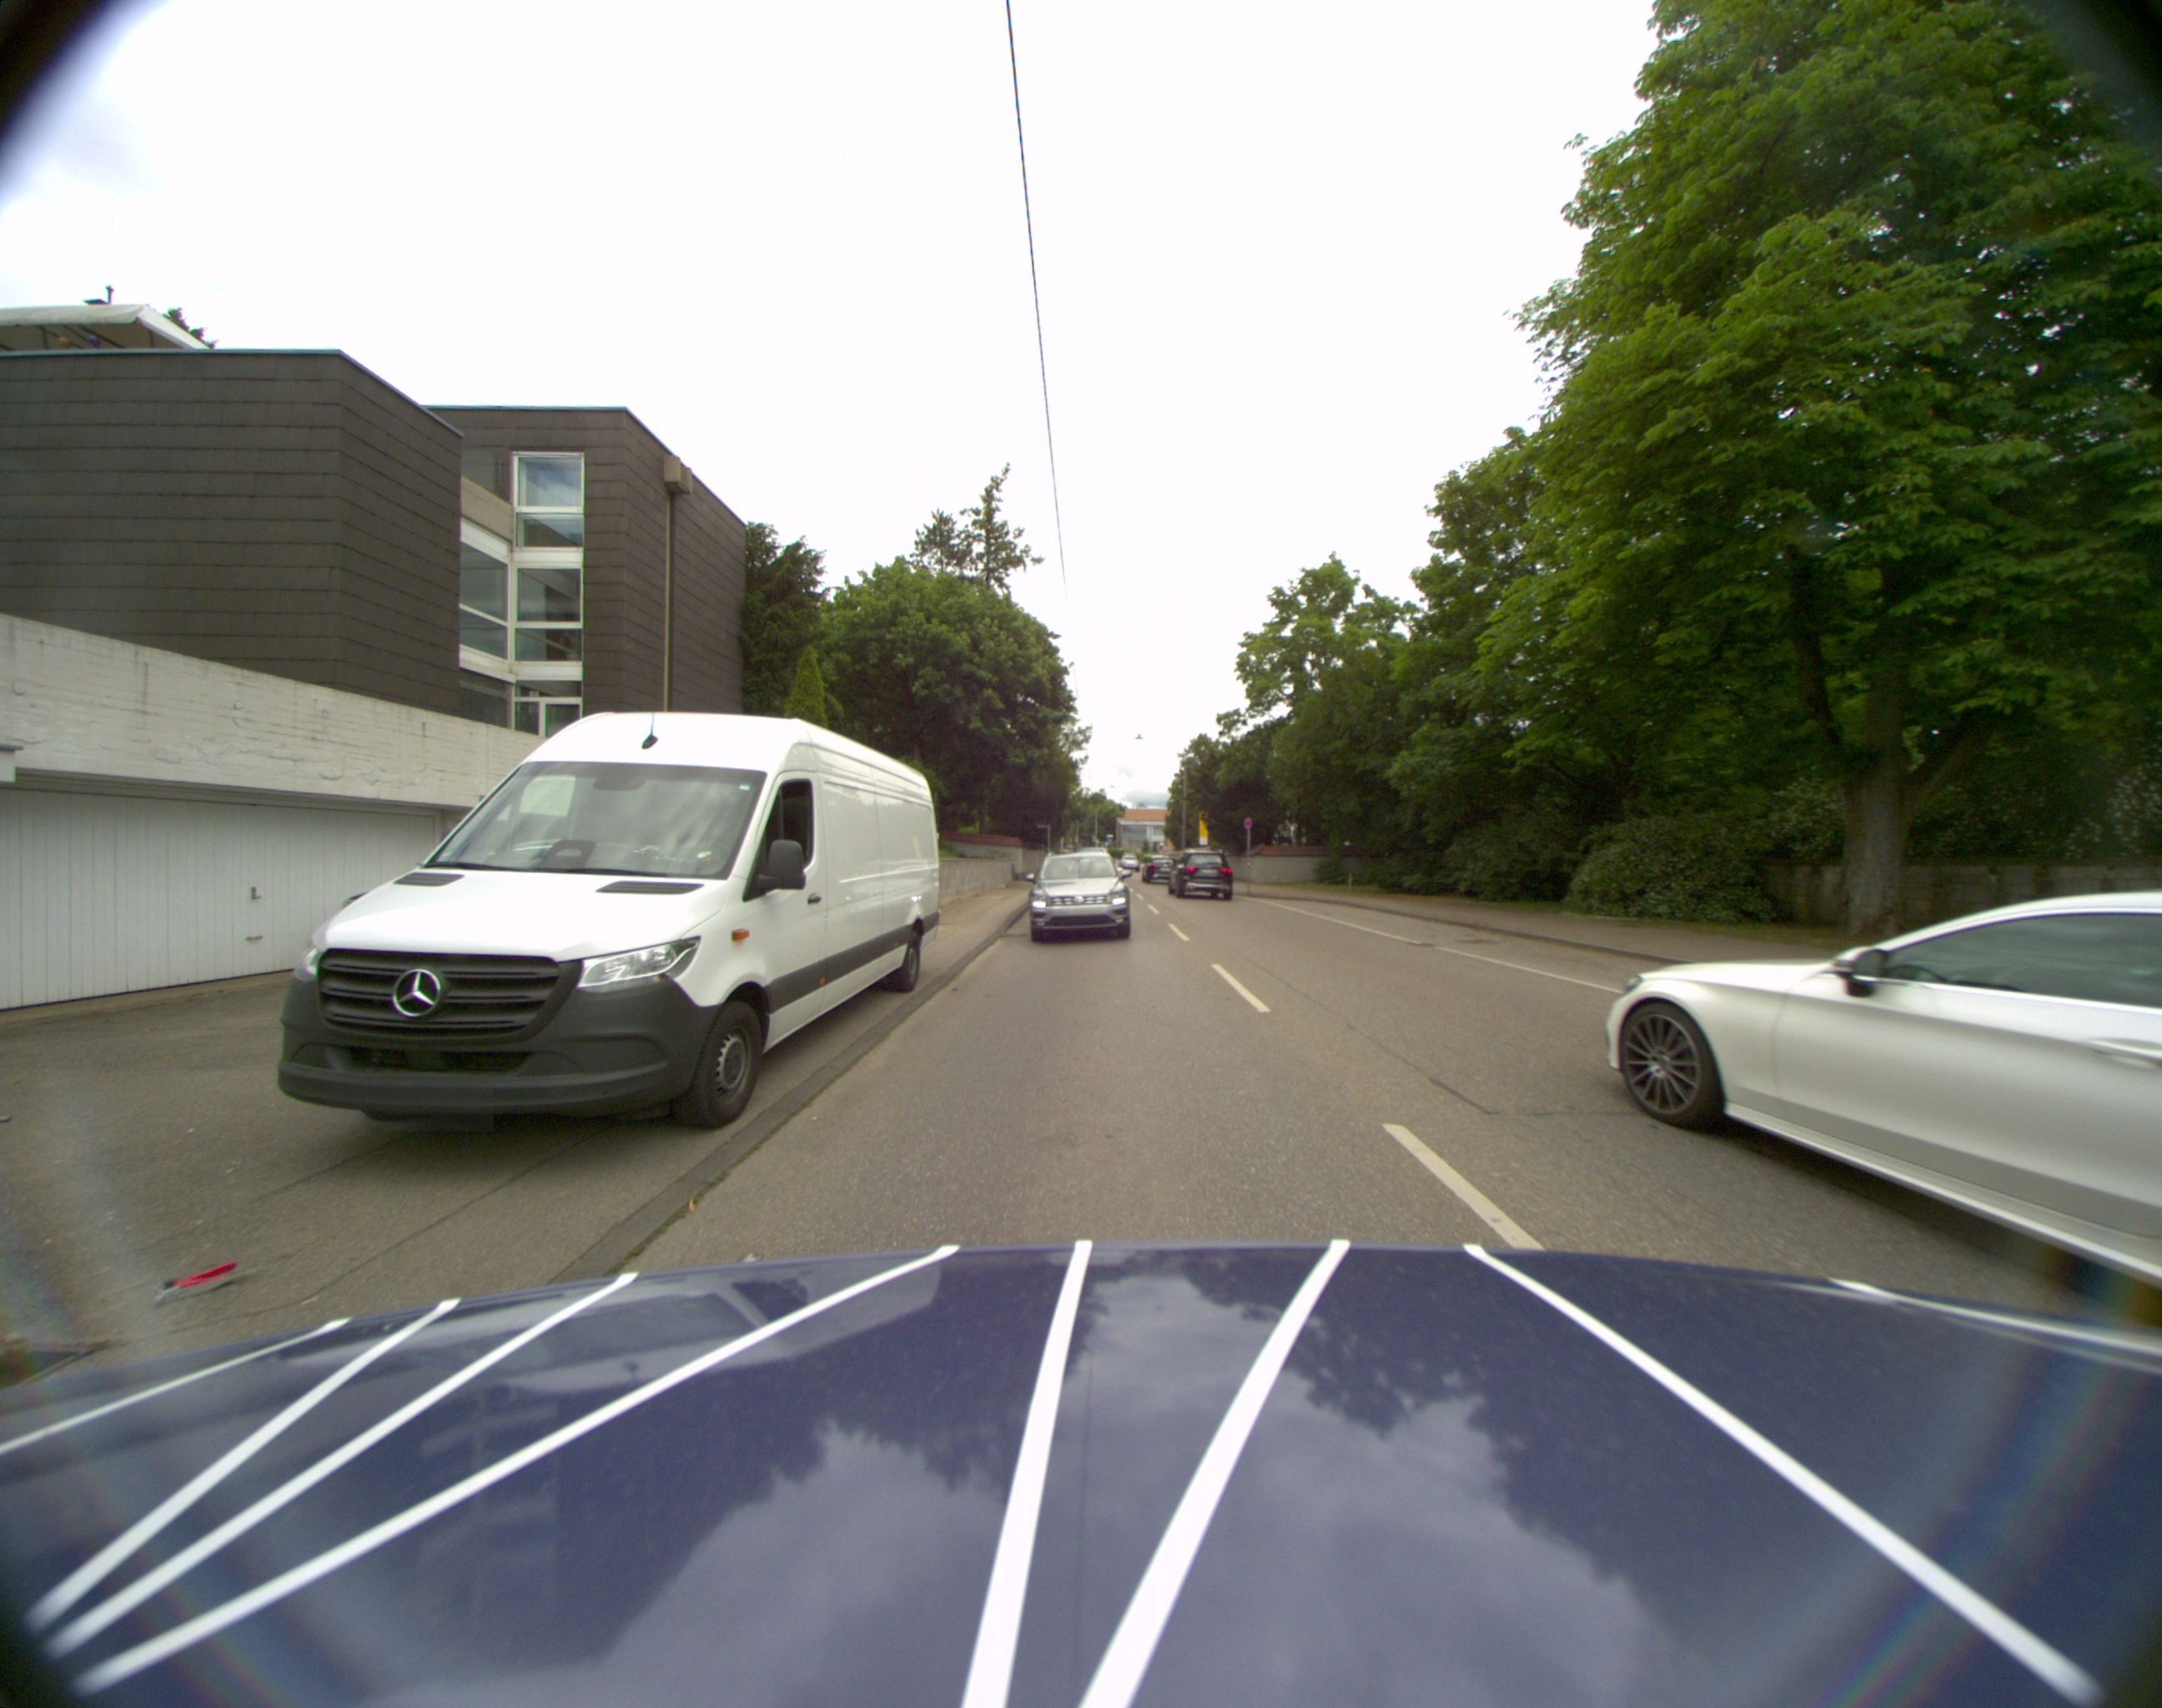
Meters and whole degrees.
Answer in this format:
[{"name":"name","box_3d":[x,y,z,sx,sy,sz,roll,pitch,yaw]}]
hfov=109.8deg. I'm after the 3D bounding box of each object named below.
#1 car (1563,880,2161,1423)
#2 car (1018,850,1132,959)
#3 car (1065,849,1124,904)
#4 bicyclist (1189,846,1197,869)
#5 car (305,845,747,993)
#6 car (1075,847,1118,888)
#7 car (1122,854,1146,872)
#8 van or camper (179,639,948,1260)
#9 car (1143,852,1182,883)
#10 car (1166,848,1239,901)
[{"name":"car","box_3d":[4.000,0.944,2.433,1.819,1.411,4.828,3,1,1]},{"name":"car","box_3d":[-0.072,0.841,15.167,1.819,1.690,4.718,-4,1,1]},{"name":"car","box_3d":[0.452,0.693,25.810,1.819,1.647,4.487,-1,1,1]},{"name":"bicyclist","box_3d":[8.347,0.233,56.708,0.489,1.674,0.588,-3,1,1]},{"name":"car","box_3d":[-6.795,0.739,9.626,4.392,1.665,1.695,1,1,2]},{"name":"car","box_3d":[0.675,0.553,34.966,1.819,1.733,4.487,-1,1,1]},{"name":"car","box_3d":[4.678,0.754,67.548,1.761,1.395,4.413,2,1,-1]},{"name":"van or camper","box_3d":[-2.841,0.384,6.567,1.996,2.610,6.544,3,1,1]},{"name":"car","box_3d":[4.279,0.692,40.405,1.705,1.475,4.000,2,1,1]},{"name":"car","box_3d":[4.152,0.664,26.663,1.885,1.635,4.127,2,1,1]}]
